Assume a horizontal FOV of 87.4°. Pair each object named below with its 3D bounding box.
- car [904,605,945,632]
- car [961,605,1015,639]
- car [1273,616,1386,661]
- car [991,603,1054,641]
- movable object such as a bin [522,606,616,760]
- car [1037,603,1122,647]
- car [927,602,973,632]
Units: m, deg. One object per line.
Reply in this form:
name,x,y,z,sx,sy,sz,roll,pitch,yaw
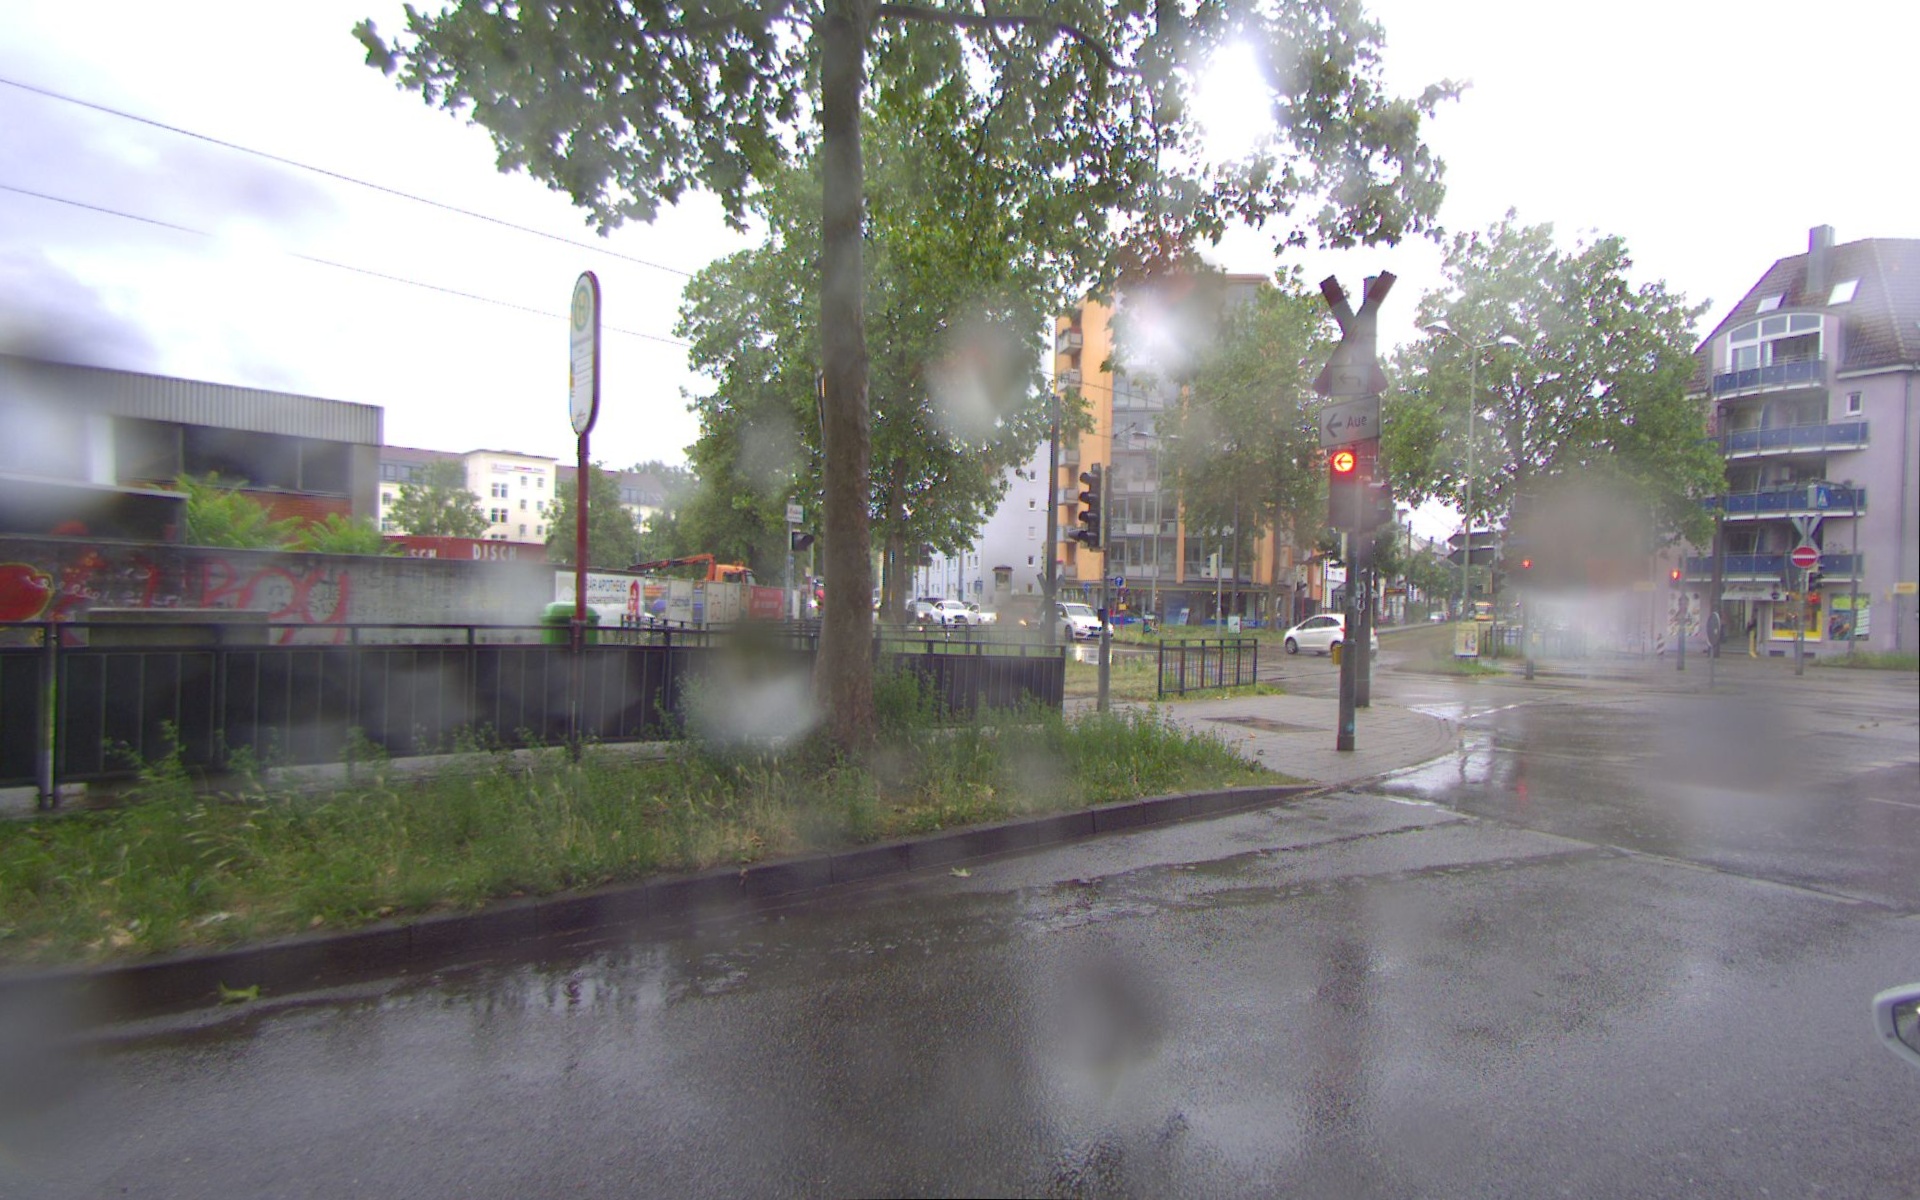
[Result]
car,-2.289,1.174,64.353,1.697,1.661,3.780,1,-1,-17
car,1.439,1.153,52.462,1.697,1.661,3.780,1,-1,-17
car,12.918,1.318,35.332,1.701,1.505,3.632,1,-1,-24
car,2.834,0.998,46.244,1.697,1.661,3.780,1,-1,-17
movable object such as a bin,-2.947,0.606,7.584,0.412,1.104,0.528,0,-1,44
car,4.729,0.986,40.345,1.941,1.673,4.004,1,-1,-17
car,-0.618,0.985,58.398,1.697,1.661,3.780,1,-1,-17
